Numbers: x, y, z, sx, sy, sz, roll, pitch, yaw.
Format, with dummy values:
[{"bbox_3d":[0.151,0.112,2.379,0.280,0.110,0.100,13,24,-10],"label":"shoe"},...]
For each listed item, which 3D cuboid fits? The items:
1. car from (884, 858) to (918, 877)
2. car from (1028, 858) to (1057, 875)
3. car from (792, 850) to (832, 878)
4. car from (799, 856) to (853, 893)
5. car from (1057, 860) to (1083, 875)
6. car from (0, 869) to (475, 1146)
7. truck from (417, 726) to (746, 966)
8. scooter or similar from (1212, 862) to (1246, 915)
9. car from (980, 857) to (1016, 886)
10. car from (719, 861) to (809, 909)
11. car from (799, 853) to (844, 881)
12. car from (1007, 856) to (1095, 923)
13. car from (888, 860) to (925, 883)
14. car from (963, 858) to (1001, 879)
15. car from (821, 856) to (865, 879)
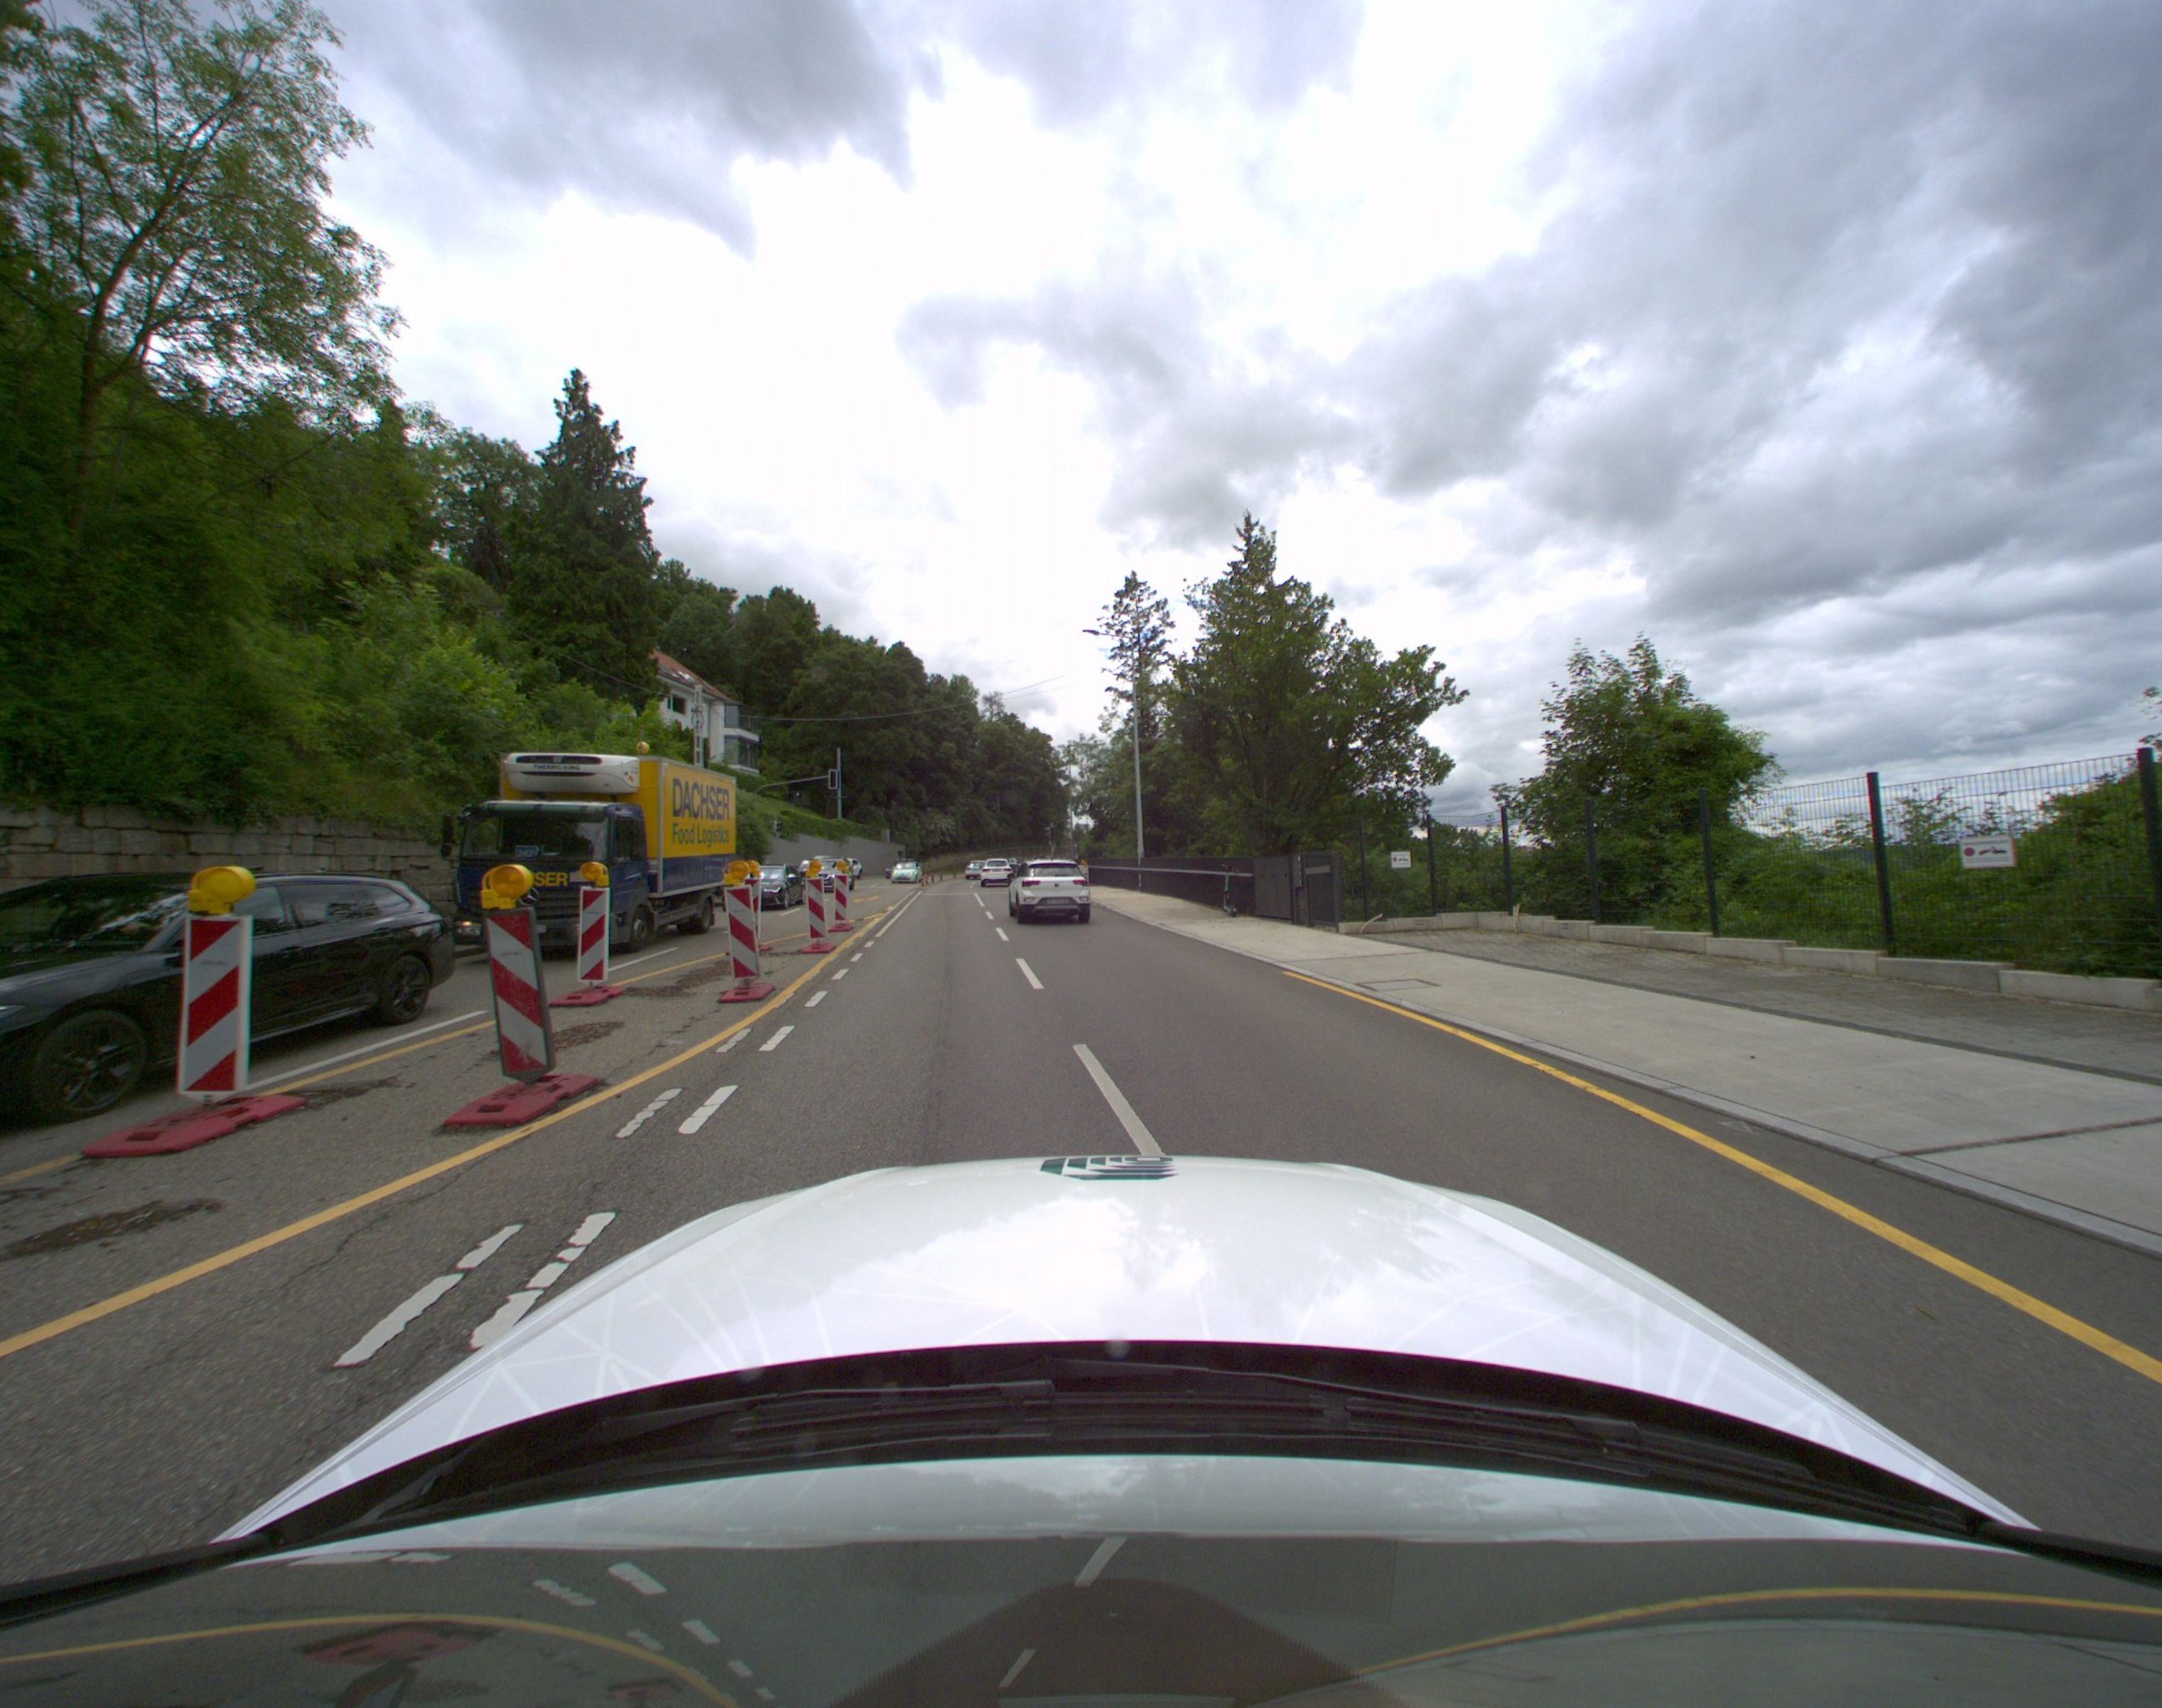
[{"bbox_3d":[-14.274,1.051,64.740,1.703,1.466,3.664,0,0,4],"label":"car"},{"bbox_3d":[-3.925,1.299,83.874,1.802,1.690,4.016,0,-1,16],"label":"car"},{"bbox_3d":[-16.220,0.593,49.147,1.710,1.573,2.949,3,0,-8],"label":"car"},{"bbox_3d":[-12.543,0.969,40.336,1.883,1.697,4.656,0,0,-9],"label":"car"},{"bbox_3d":[-1.245,1.586,94.194,1.802,1.690,4.016,0,-1,16],"label":"car"},{"bbox_3d":[-7.013,0.861,6.237,1.770,1.441,4.730,1,-1,-9],"label":"car"},{"bbox_3d":[-8.902,-0.103,15.763,2.730,3.510,7.328,-1,-1,-9],"label":"truck"},{"bbox_3d":[3.691,0.838,20.387,0.533,1.226,1.205,-2,1,-3],"label":"scooter or similar"},{"bbox_3d":[-4.837,1.000,47.890,1.990,1.586,3.993,1,-1,-5],"label":"car"},{"bbox_3d":[-10.496,0.975,27.319,1.809,1.430,4.859,0,0,-9],"label":"car"},{"bbox_3d":[-17.132,0.813,53.984,1.857,1.731,4.750,2,-1,-7],"label":"car"},{"bbox_3d":[-0.857,0.845,20.868,1.866,1.536,3.792,0,0,-8],"label":"car"},{"bbox_3d":[-11.741,1.183,54.935,1.706,1.466,3.659,1,0,-1],"label":"car"},{"bbox_3d":[-7.748,1.112,64.142,1.895,1.574,4.010,1,-1,9],"label":"car"},{"bbox_3d":[-17.405,0.981,59.726,1.826,1.573,4.474,1,-1,0],"label":"car"}]
